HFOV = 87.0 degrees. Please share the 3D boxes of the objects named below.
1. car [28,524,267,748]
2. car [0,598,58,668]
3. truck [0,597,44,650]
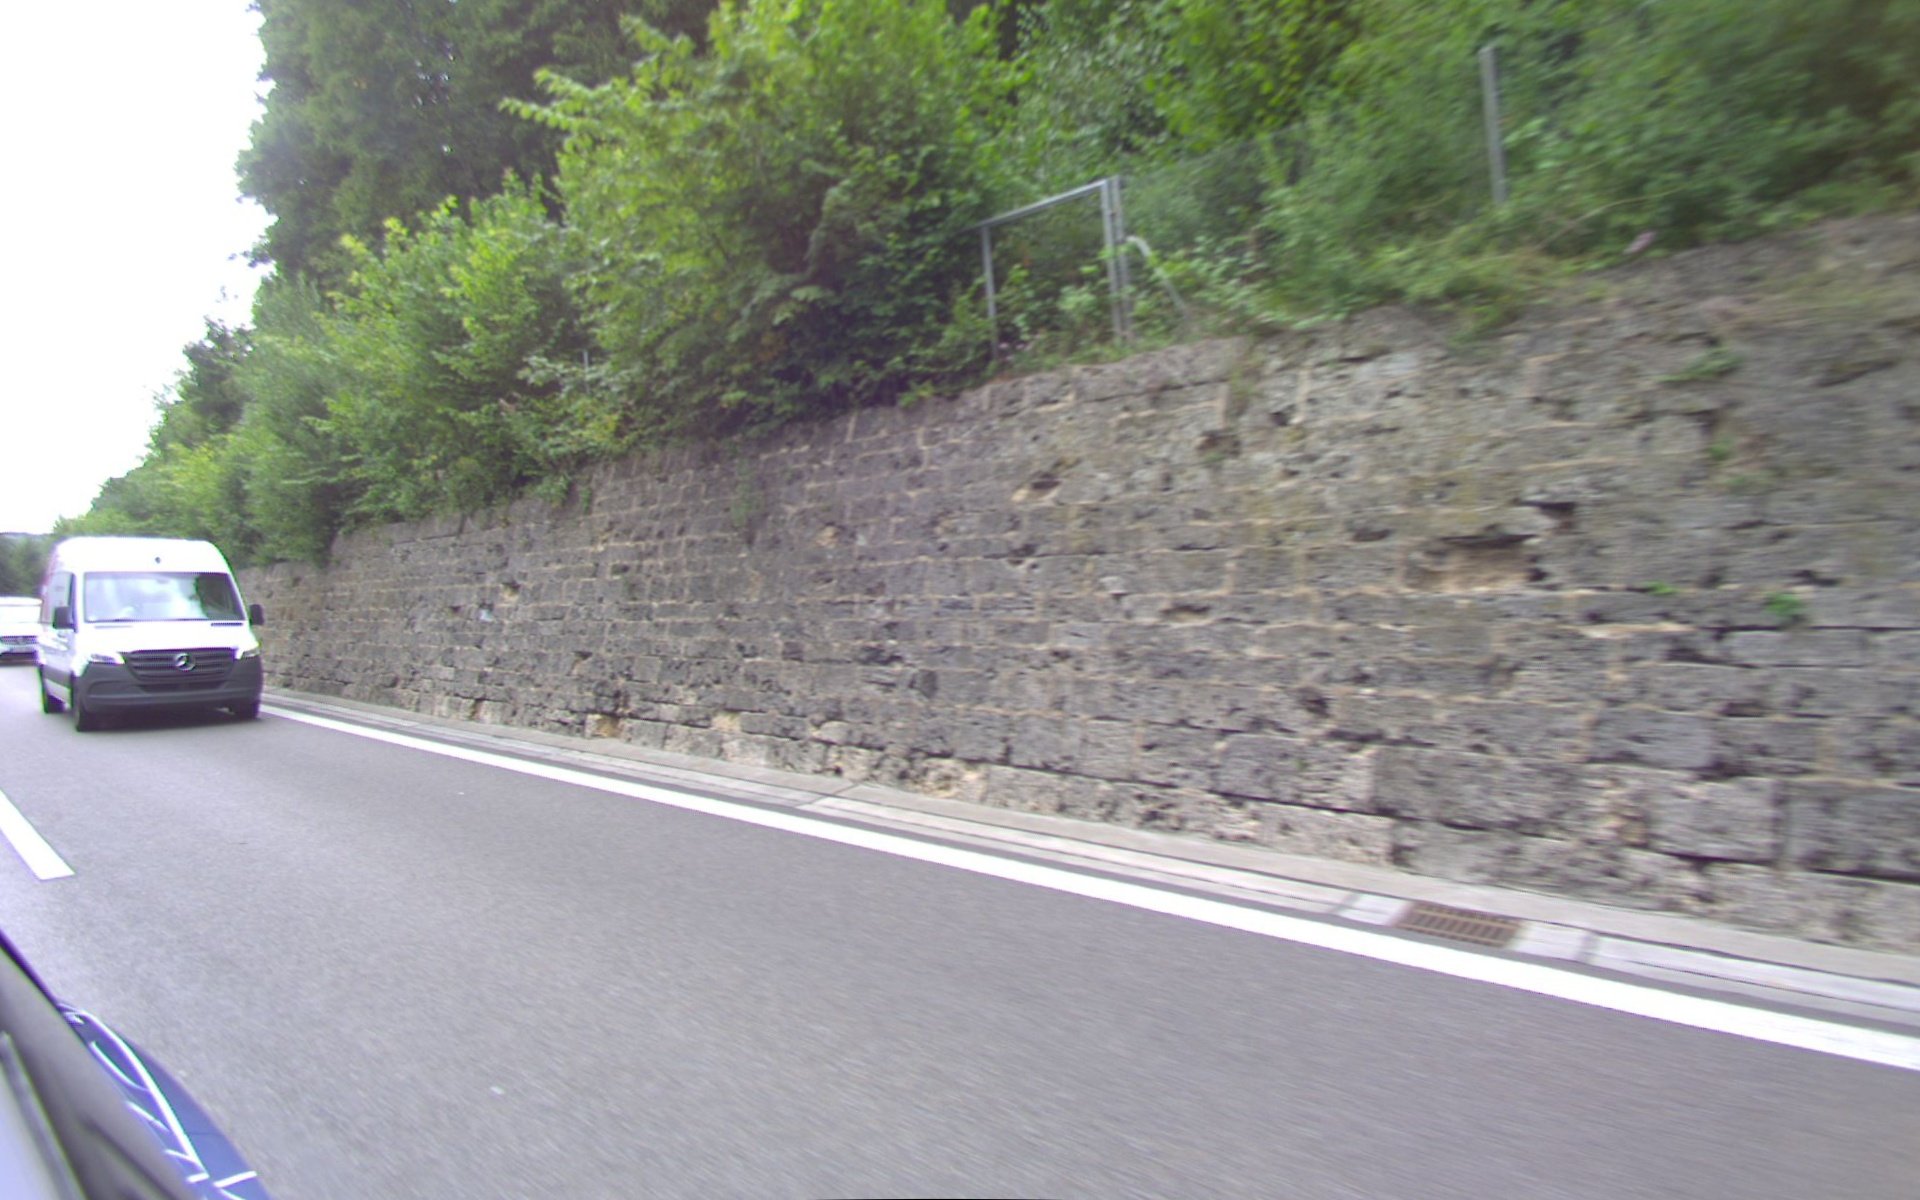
[{"bbox_3d":[-11.970,0.422,14.692,6.277,2.604,2.003,0,0,45],"label":"car"},{"bbox_3d":[-29.299,0.988,31.200,1.970,1.967,6.153,-3,1,-44],"label":"car"},{"bbox_3d":[-44.177,1.092,46.954,1.968,2.297,6.599,-3,1,-38],"label":"truck"}]
